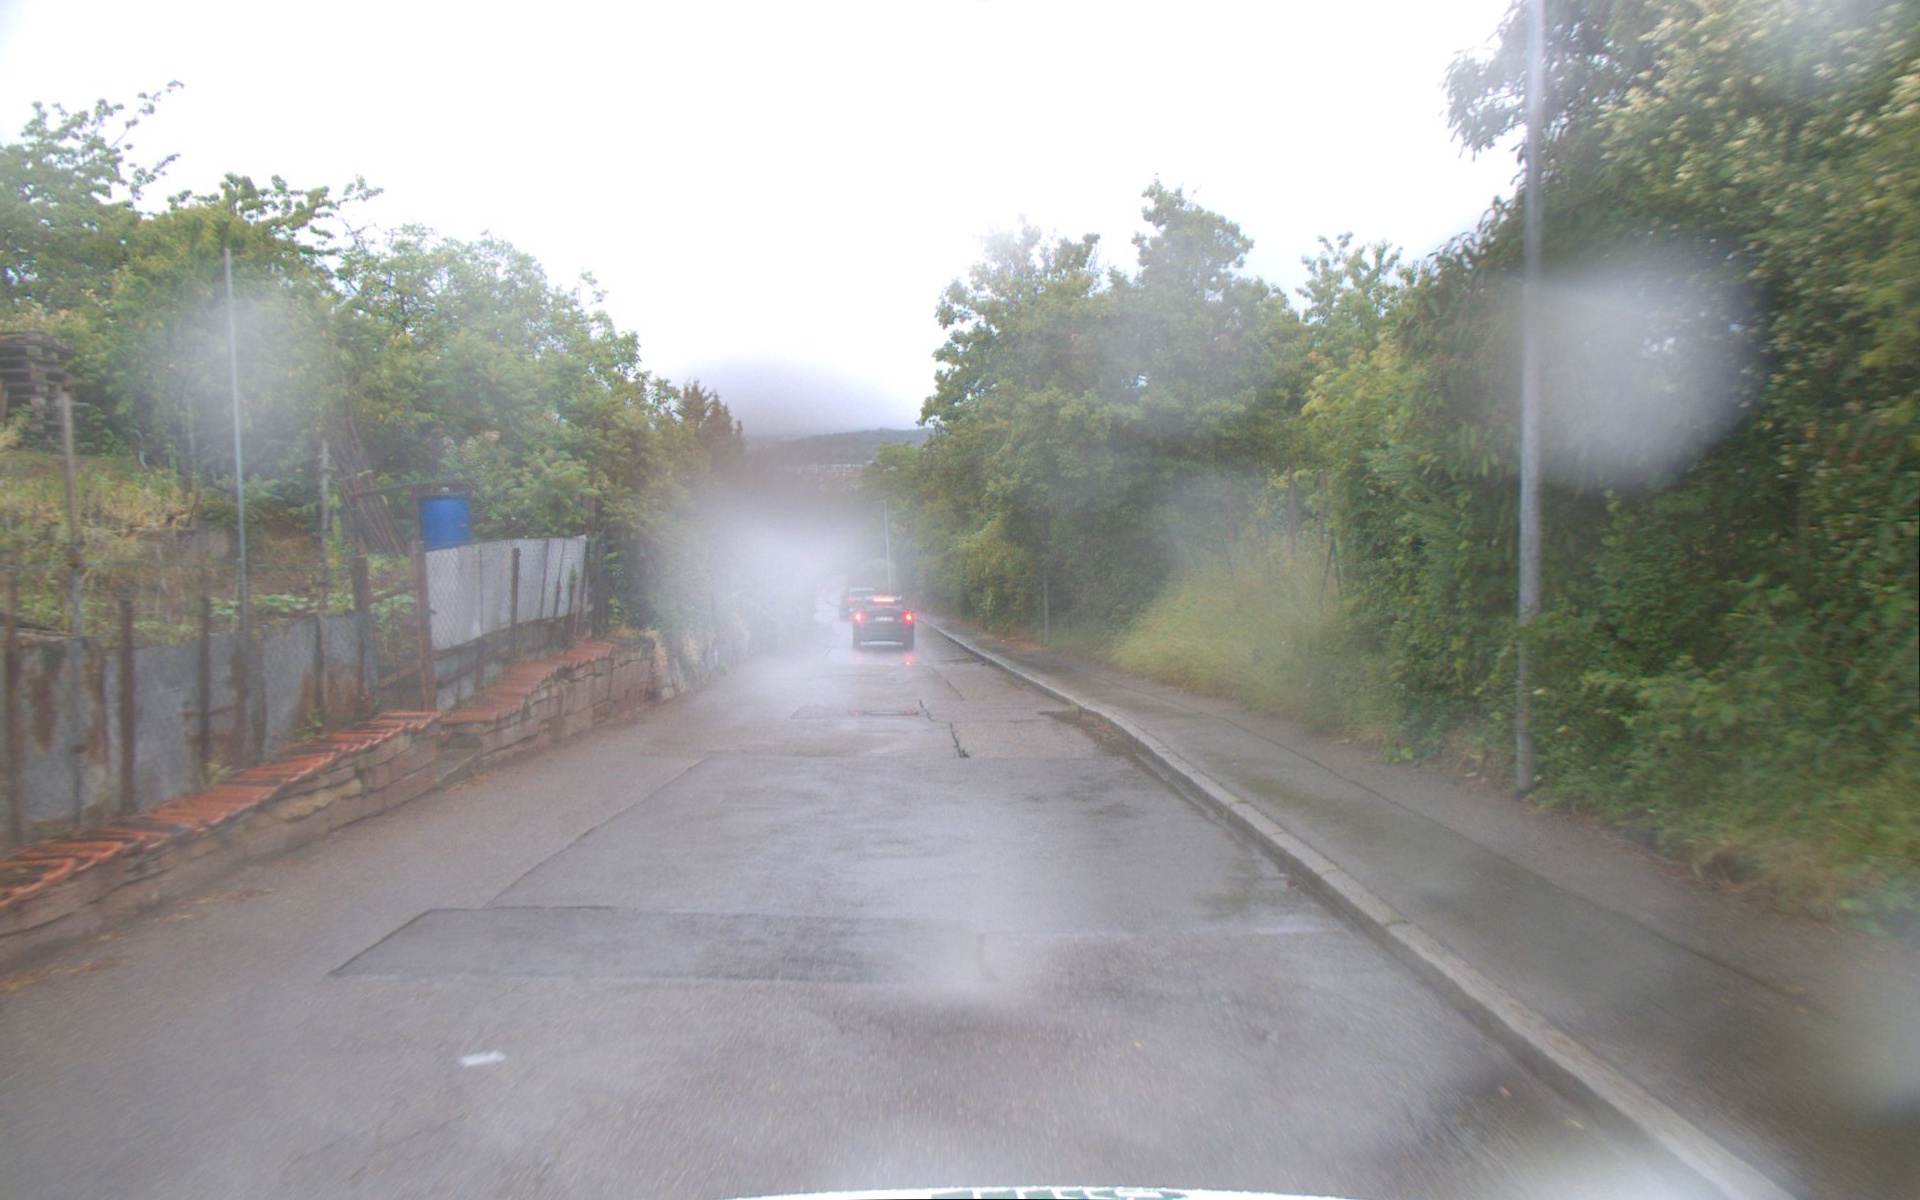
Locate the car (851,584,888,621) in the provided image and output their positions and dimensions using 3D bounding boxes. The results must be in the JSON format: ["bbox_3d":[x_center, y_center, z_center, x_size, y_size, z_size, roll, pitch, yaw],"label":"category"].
[{"bbox_3d":[-4.397,0.097,80.857,1.644,1.592,3.794,-1,2,-1],"label":"car"}]

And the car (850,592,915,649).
[{"bbox_3d":[-2.248,0.548,47.546,1.798,1.489,3.998,0,1,-4],"label":"car"}]
